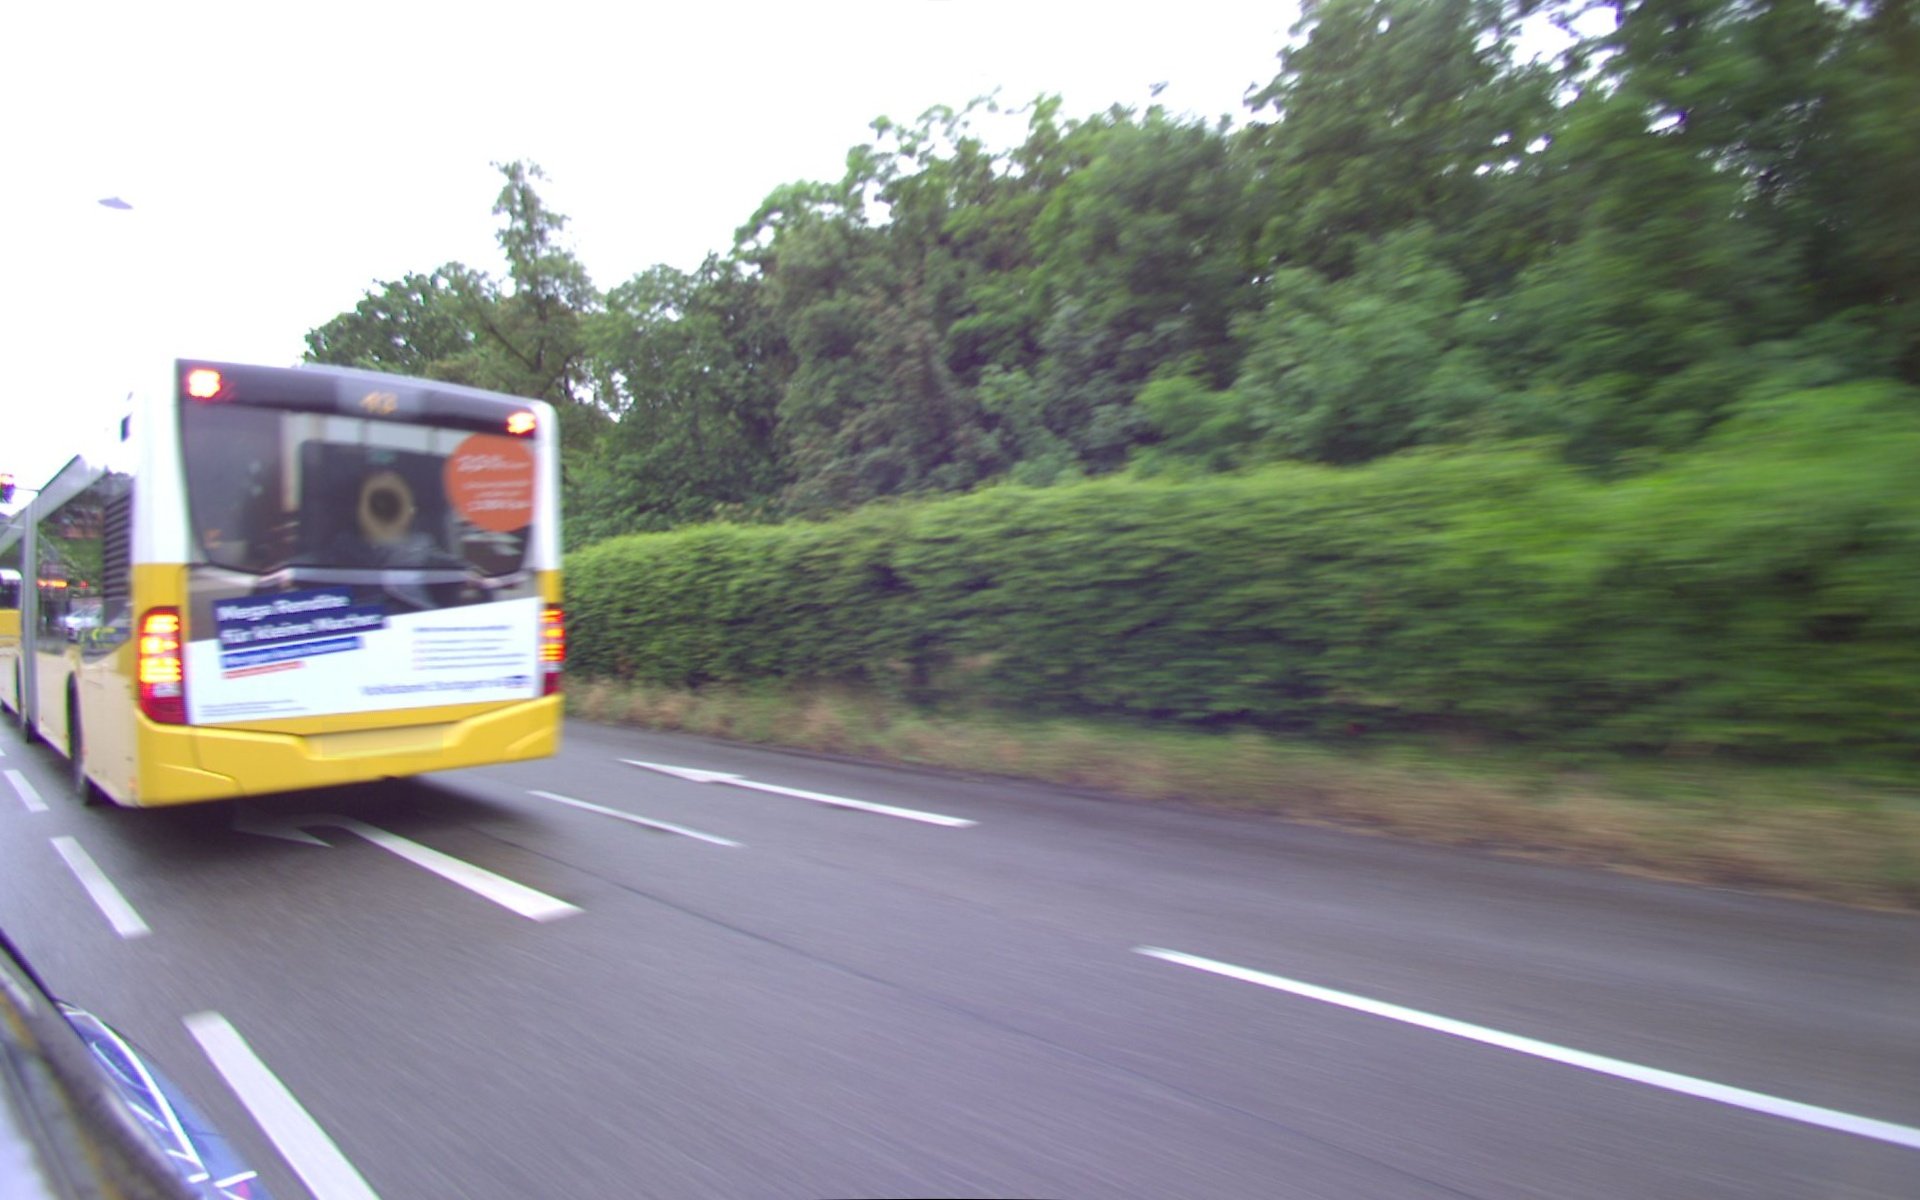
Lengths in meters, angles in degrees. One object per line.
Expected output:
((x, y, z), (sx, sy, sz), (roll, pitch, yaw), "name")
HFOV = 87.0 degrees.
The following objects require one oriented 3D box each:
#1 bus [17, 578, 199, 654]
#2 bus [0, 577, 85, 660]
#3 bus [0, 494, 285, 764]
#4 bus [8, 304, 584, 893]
((-42.304, 0.791, 50.750), (2.862, 3.424, 9.060), (-1, -1, -11), "bus")
((-40.775, 0.799, 41.959), (2.642, 3.424, 8.697), (-1, -1, -9), "bus")
((-13.183, 0.385, 15.638), (9.231, 3.067, 2.614), (-1, 0, 44), "bus")
((-6.750, 0.043, 9.394), (8.637, 3.182, 2.566), (-1, 0, 44), "bus")
